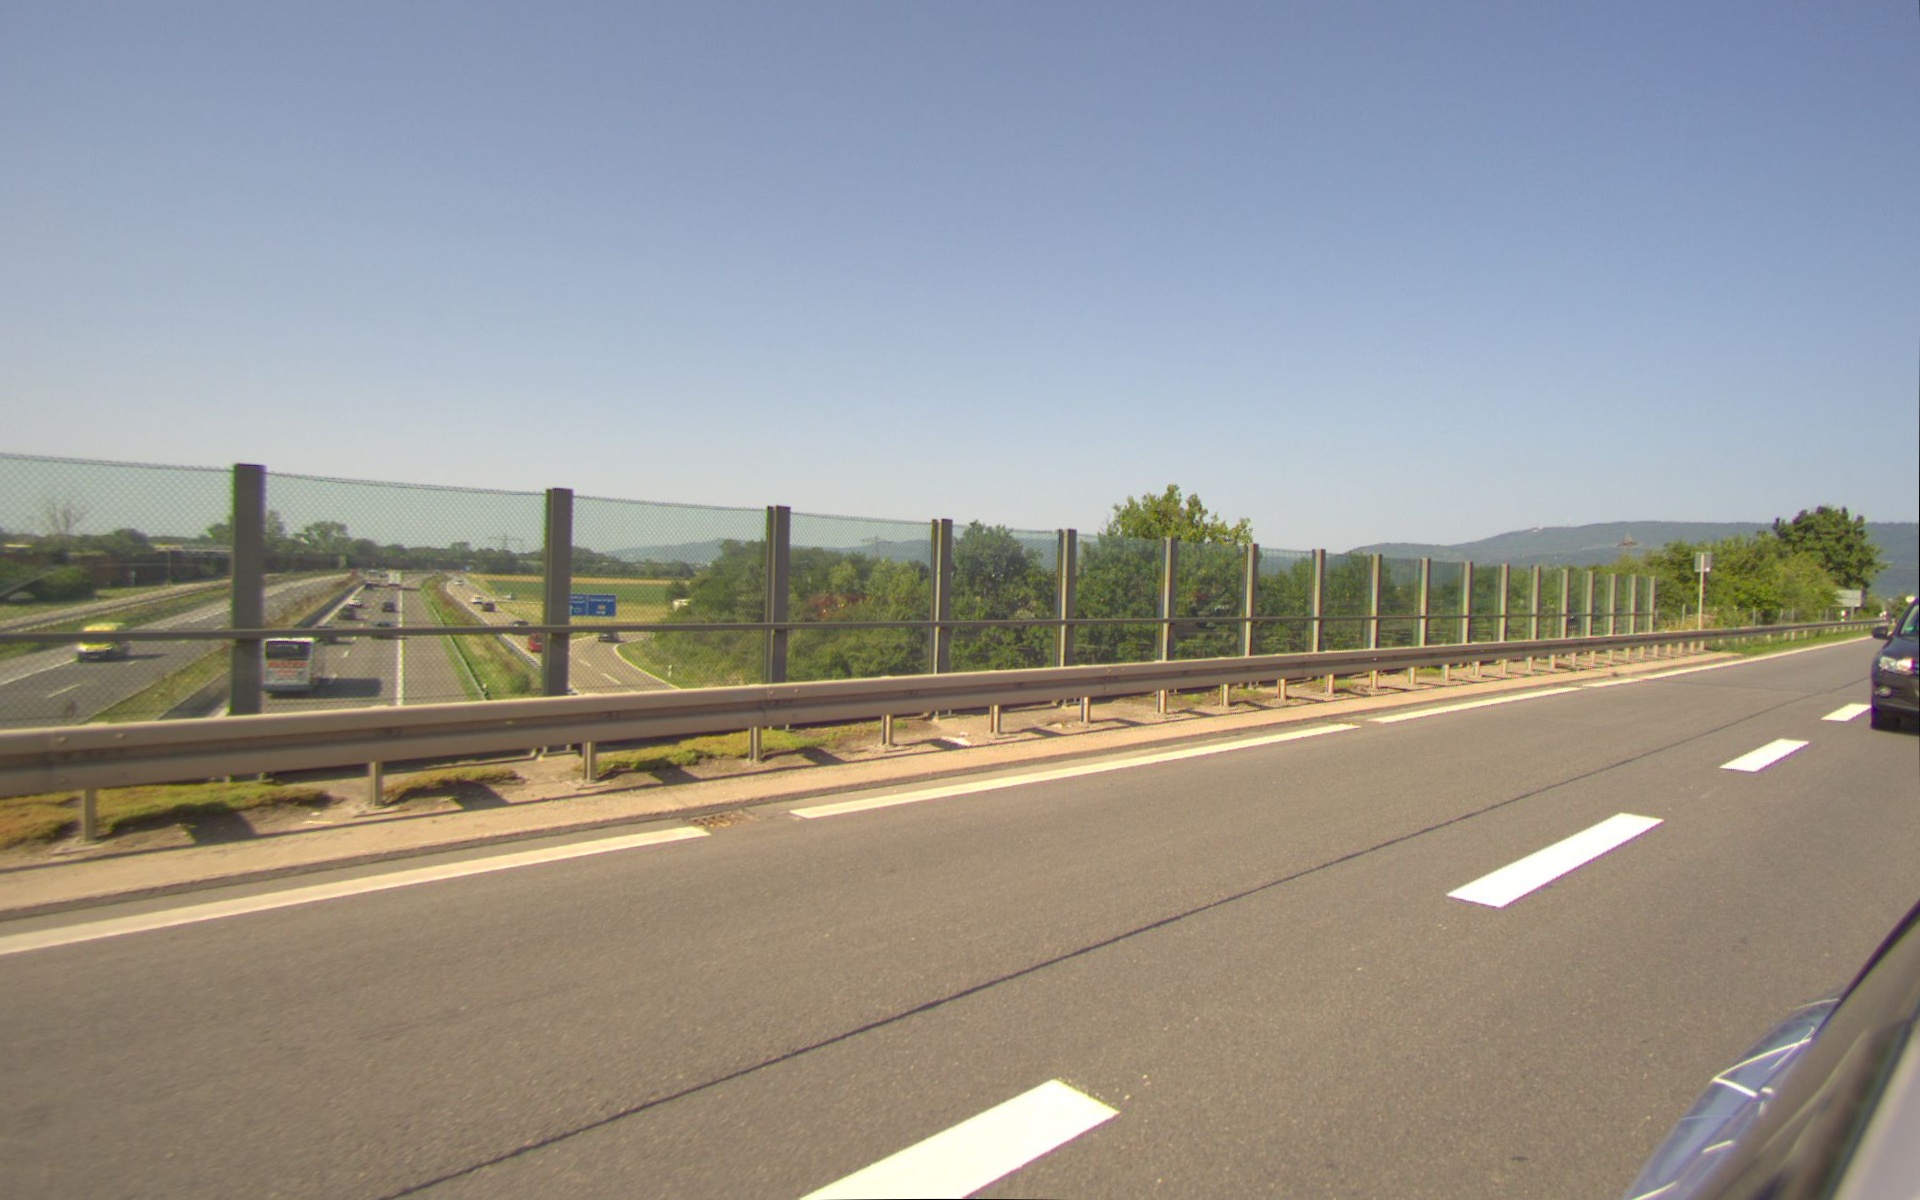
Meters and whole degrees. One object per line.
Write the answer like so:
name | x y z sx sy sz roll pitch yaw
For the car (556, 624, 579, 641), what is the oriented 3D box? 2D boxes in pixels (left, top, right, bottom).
car | -44.574 3.650 114.952 1.814 1.705 4.004 0 0 -30

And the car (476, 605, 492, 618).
car | -76.412 1.844 162.422 1.960 2.039 4.004 0 0 -30

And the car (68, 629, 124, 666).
car | -61.116 3.289 71.678 2.093 2.374 4.994 1 0 -29

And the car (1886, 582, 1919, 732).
car | 12.616 0.653 12.132 4.075 1.667 1.788 1 0 -41

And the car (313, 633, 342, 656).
car | -55.555 3.861 88.893 1.841 1.787 4.005 1 0 -28

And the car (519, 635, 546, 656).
car | -39.588 4.176 93.672 1.841 1.787 4.005 1 0 -28

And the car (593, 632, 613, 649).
car | -39.935 4.536 113.074 1.813 1.705 4.007 0 0 -23

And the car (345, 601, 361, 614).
car | -87.135 1.079 145.268 1.841 1.787 4.005 1 0 -28

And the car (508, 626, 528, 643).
car | -50.136 3.894 114.782 1.744 1.794 4.006 1 0 -27

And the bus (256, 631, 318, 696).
bus | -39.012 3.574 58.880 2.499 3.203 8.398 1 0 -30

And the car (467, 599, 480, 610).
car | -90.327 0.815 187.769 1.960 2.039 4.004 0 0 -30

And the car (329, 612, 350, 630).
car | -73.369 2.501 119.621 1.841 2.037 4.005 1 0 -28
